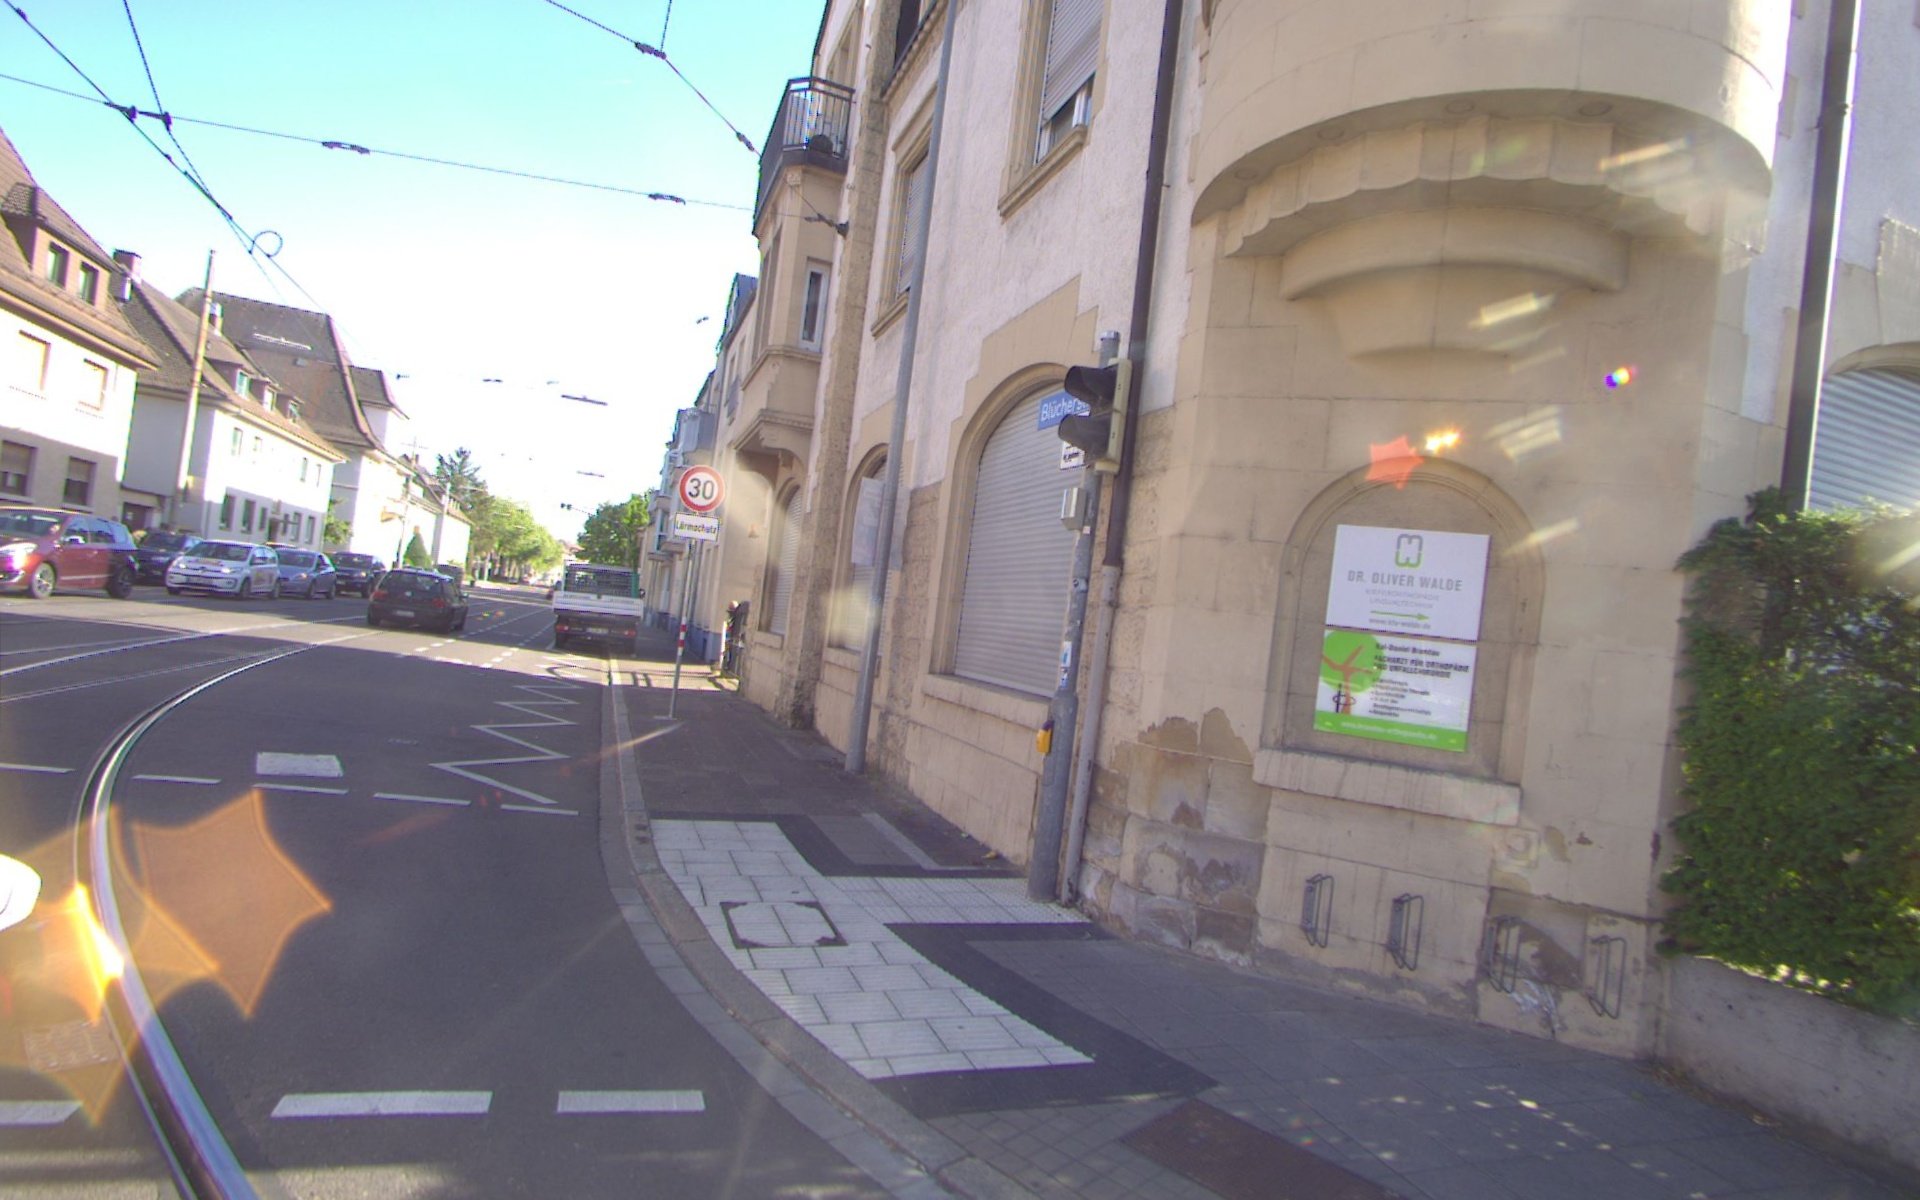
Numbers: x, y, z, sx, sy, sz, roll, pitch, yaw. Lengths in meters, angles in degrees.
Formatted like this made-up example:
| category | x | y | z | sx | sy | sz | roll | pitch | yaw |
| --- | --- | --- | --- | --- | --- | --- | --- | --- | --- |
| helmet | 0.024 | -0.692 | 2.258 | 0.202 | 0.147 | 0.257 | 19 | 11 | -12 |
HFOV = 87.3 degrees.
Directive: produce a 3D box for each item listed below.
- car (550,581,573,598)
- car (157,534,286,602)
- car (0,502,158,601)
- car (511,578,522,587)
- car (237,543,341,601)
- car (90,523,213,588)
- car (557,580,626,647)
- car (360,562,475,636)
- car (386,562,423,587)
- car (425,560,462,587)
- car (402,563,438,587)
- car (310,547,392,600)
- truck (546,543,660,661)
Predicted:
| category | x | y | z | sx | sy | sz | roll | pitch | yaw |
| --- | --- | --- | --- | --- | --- | --- | --- | --- | --- |
| car | -36.610 | -0.950 | 92.485 | 1.616 | 1.388 | 3.743 | 7 | -2 | -19 |
| car | -19.073 | -0.783 | 26.139 | 1.564 | 1.478 | 3.600 | 6 | -1 | -19 |
| car | -17.286 | -0.893 | 18.840 | 1.717 | 1.630 | 4.701 | 6 | -1 | -16 |
| car | -85.711 | -3.424 | 194.428 | 1.561 | 1.495 | 3.420 | 7 | -1 | -26 |
| car | -20.596 | -0.820 | 31.041 | 1.599 | 1.478 | 4.059 | 6 | -1 | -20 |
| car | -24.182 | -1.258 | 30.249 | 1.598 | 1.647 | 3.905 | 6 | -1 | -21 |
| car | -11.836 | 0.395 | 32.428 | 1.721 | 1.766 | 4.238 | 9 | -2 | -20 |
| car | -13.030 | -0.025 | 24.379 | 1.698 | 1.418 | 3.990 | 9 | -2 | -20 |
| car | -38.205 | -1.738 | 69.247 | 1.647 | 1.494 | 4.228 | 8 | -2 | -24 |
| car | -45.417 | -2.272 | 88.592 | 1.886 | 2.036 | 4.930 | 9 | -2 | -19 |
| car | -40.470 | -1.824 | 75.457 | 1.659 | 1.493 | 3.820 | 9 | -2 | -20 |
| car | -23.031 | -0.963 | 38.227 | 1.684 | 1.725 | 4.347 | 6 | -1 | -20 |
| truck | -9.439 | 0.037 | 26.655 | 2.271 | 2.506 | 6.121 | 7 | -2 | -20 |
